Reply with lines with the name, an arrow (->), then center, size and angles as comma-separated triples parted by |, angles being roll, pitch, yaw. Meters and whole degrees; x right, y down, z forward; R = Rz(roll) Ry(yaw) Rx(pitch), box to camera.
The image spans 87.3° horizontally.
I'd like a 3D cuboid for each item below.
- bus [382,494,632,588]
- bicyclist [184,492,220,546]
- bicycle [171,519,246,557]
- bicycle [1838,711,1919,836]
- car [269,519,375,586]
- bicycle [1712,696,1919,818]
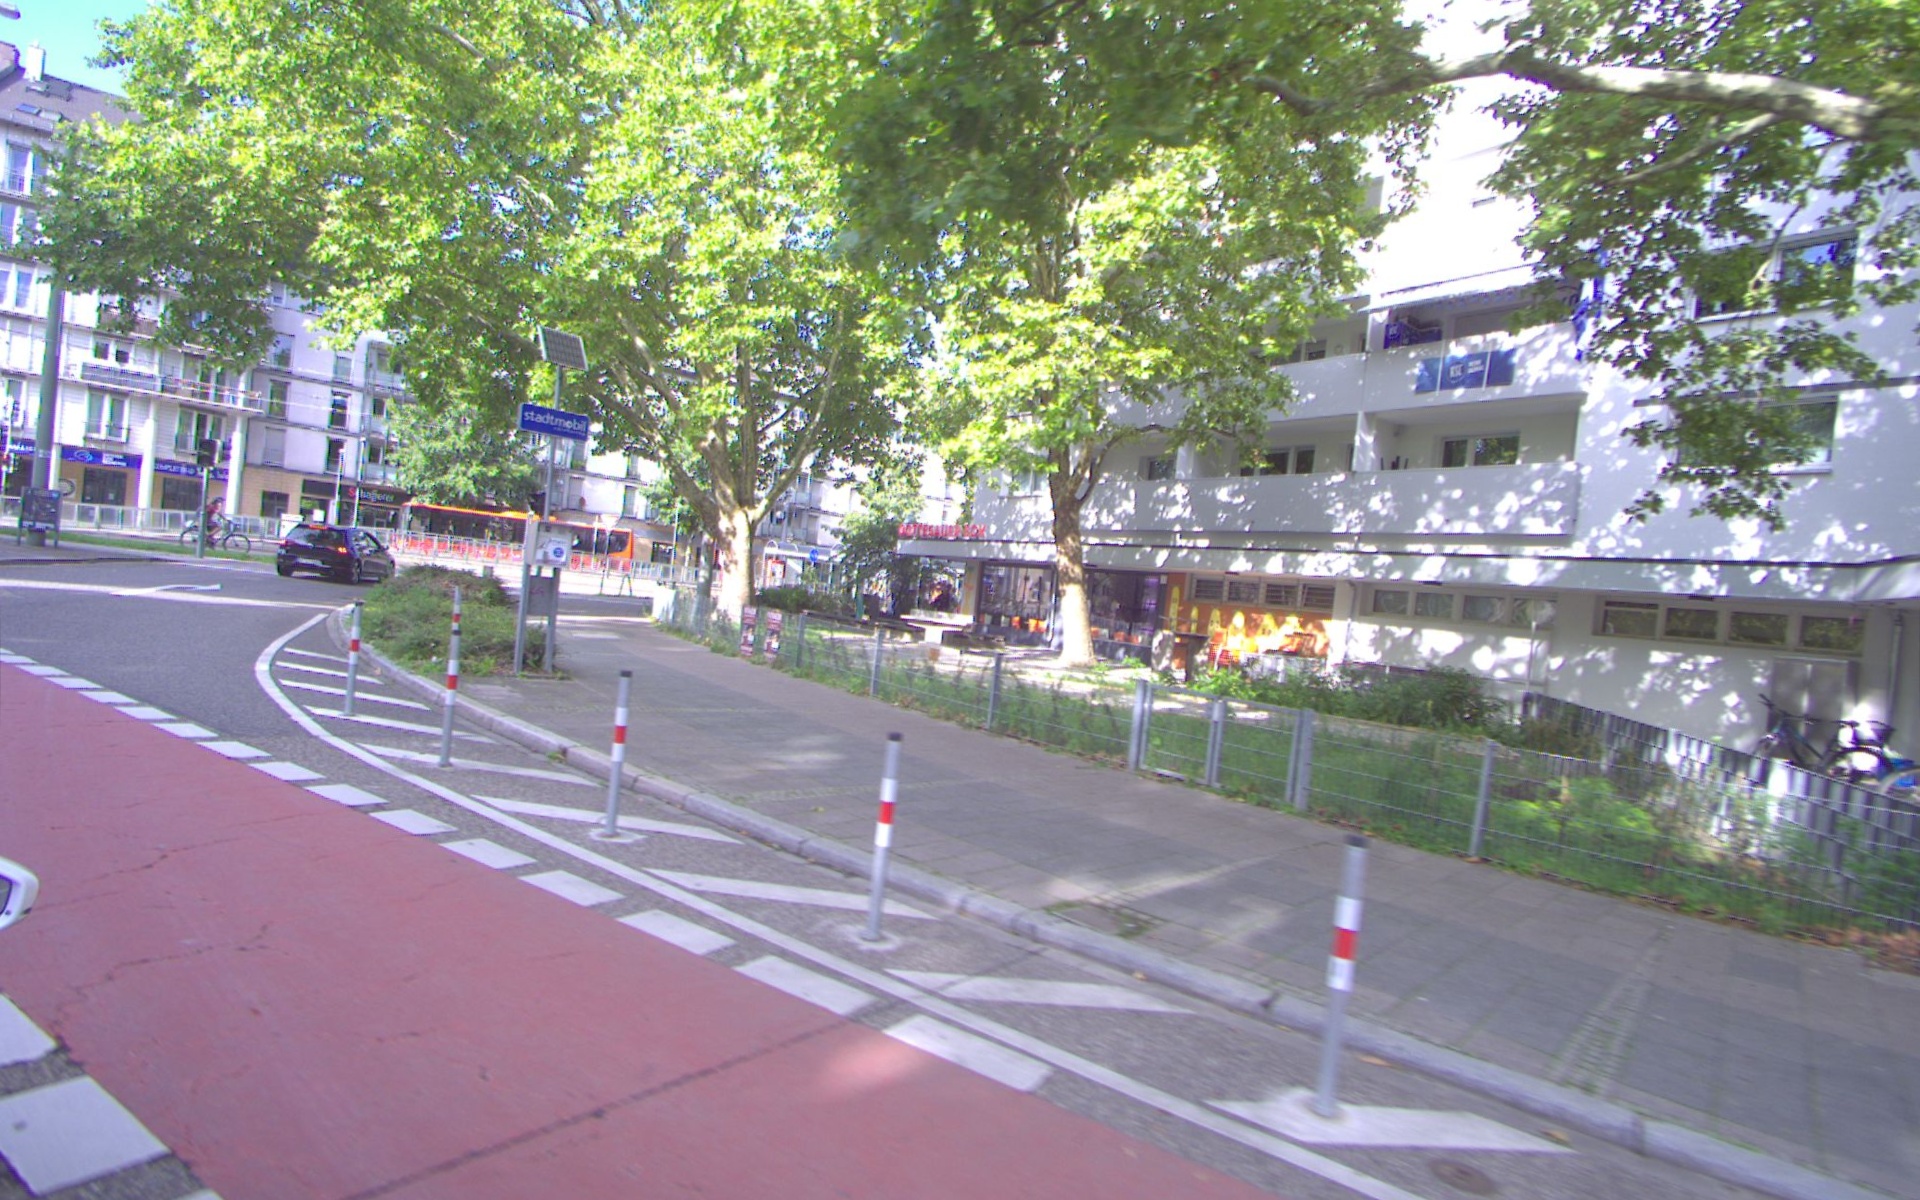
bus -> -24.983, -3.168, 56.160 | 12.194, 3.593, 2.998 | 7, 1, -37
bicyclist -> -23.984, -2.565, 31.838 | 0.773, 1.599, 0.620 | 5, 1, -34
bicycle -> -23.851, -1.968, 31.980 | 1.817, 0.967, 0.568 | 6, 1, -34
bicycle -> 9.373, 1.742, 9.150 | 0.742, 1.051, 1.838 | 11, -1, -34
car -> -16.710, -1.241, 26.513 | 1.736, 1.431, 3.975 | 7, 0, -25
bicycle -> 10.148, 1.821, 11.858 | 1.821, 1.085, 0.692 | 6, 2, 18
